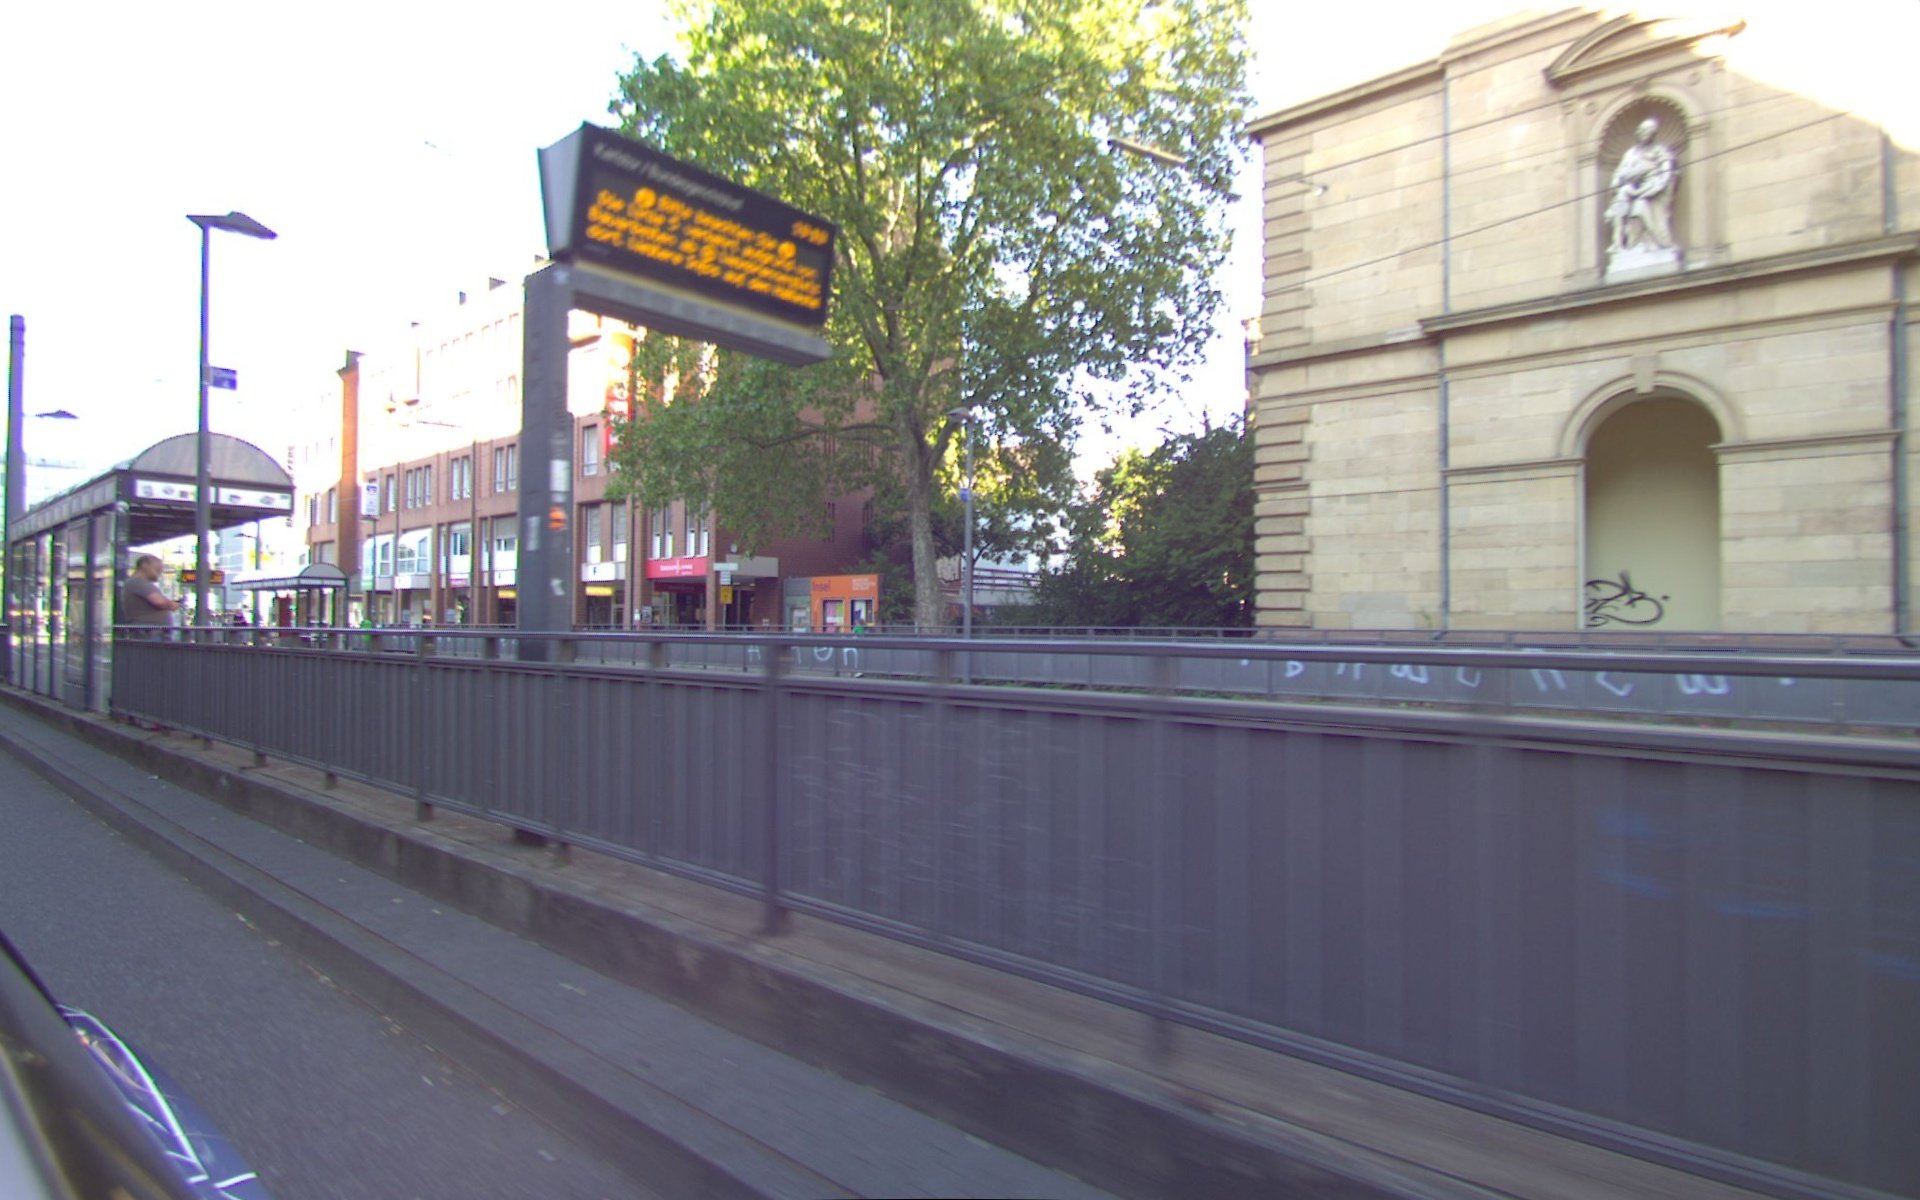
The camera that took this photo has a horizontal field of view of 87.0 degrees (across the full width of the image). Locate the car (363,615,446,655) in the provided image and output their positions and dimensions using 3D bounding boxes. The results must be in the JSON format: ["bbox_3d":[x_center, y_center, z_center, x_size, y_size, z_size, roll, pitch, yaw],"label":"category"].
[{"bbox_3d":[-24.907,1.539,45.352,4.289,1.606,1.889,1,-2,42],"label":"car"}]

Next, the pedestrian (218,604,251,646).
[{"bbox_3d":[-30.019,1.025,41.870,0.967,1.674,0.902,-1,-1,40],"label":"pedestrian"}]

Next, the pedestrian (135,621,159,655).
[{"bbox_3d":[-43.578,2.016,54.223,0.811,1.780,0.849,-1,1,42],"label":"pedestrian"}]

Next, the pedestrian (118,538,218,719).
[{"bbox_3d":[-7.943,0.283,10.145,0.849,1.725,0.616,-1,-2,40],"label":"pedestrian"}]

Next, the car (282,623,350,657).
[{"bbox_3d":[-34.431,2.131,54.070,4.289,1.606,1.889,1,-2,42],"label":"car"}]
